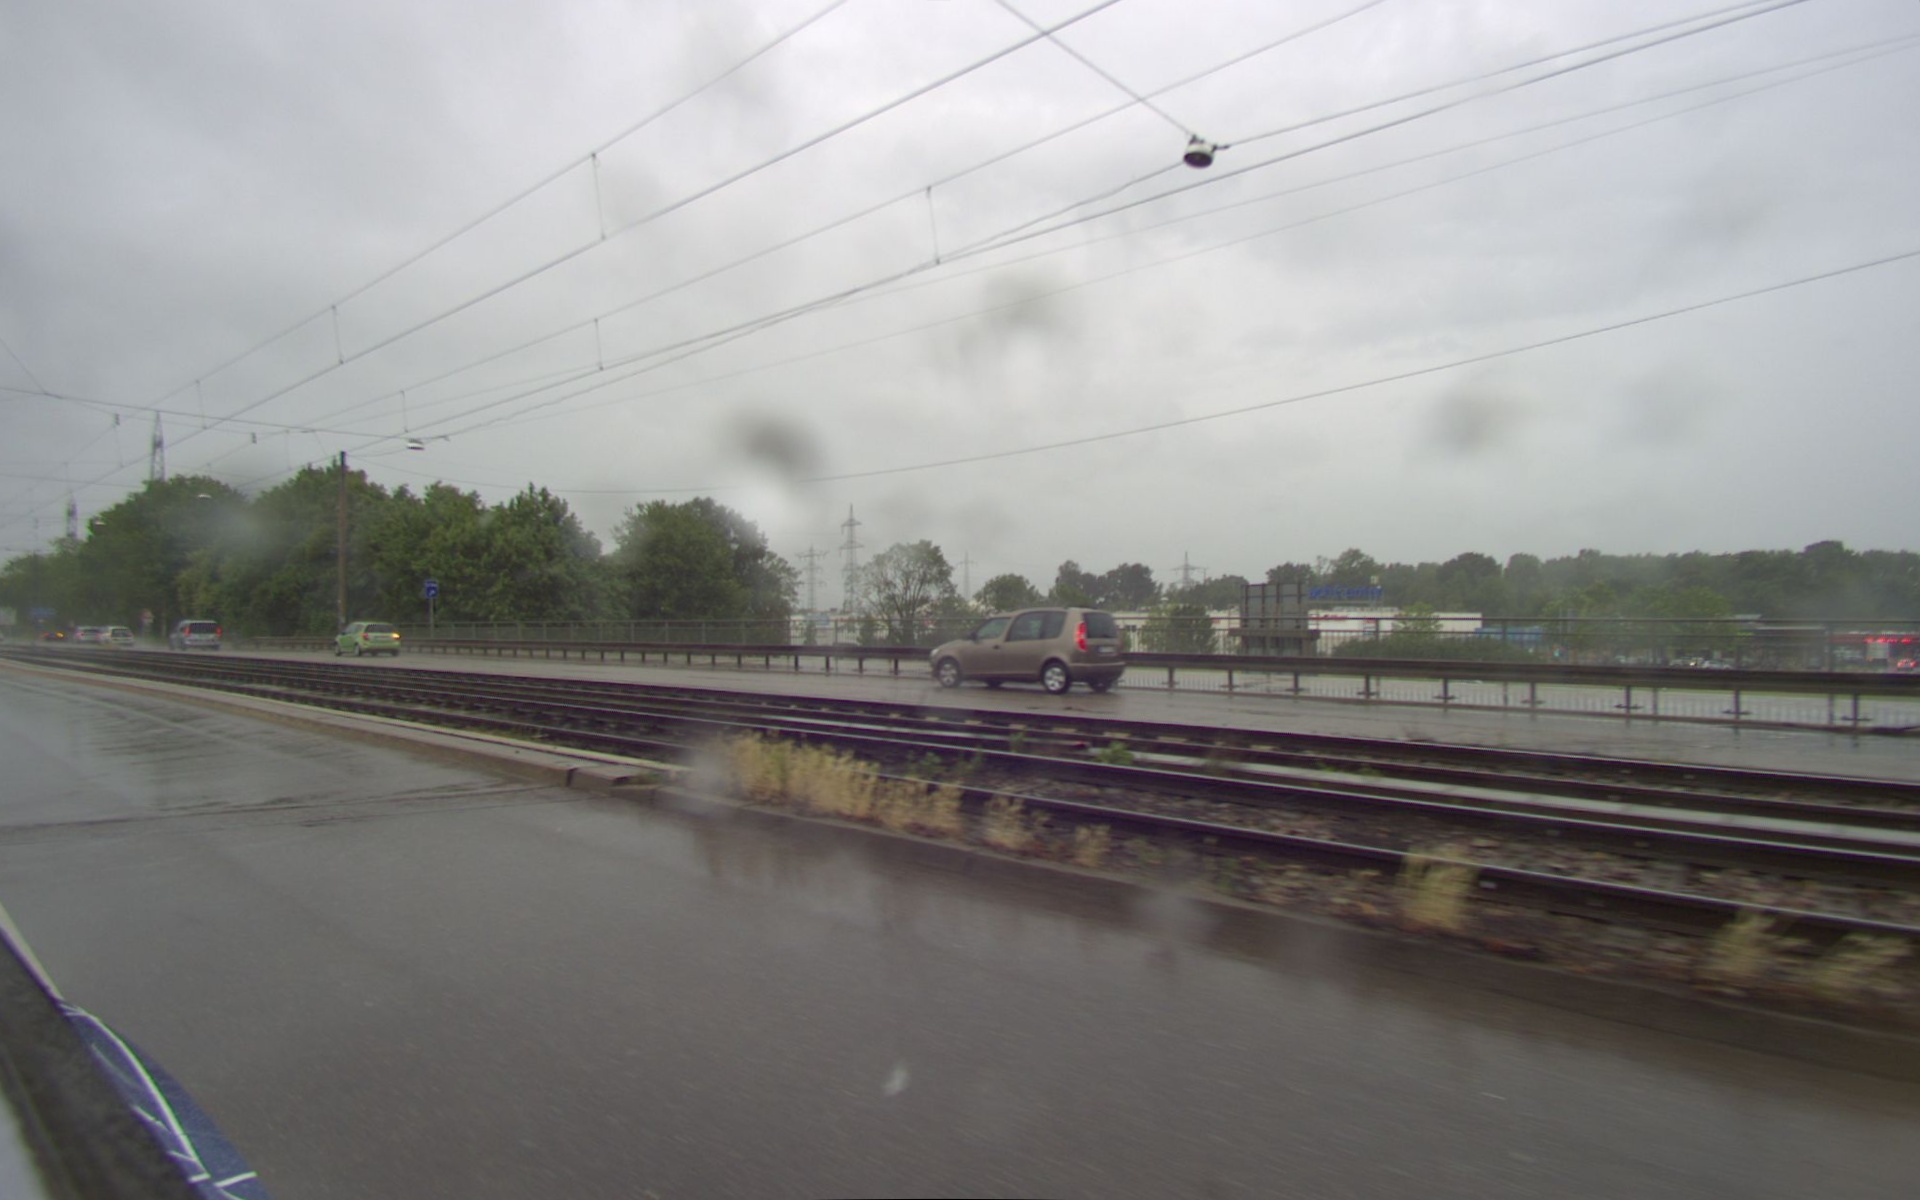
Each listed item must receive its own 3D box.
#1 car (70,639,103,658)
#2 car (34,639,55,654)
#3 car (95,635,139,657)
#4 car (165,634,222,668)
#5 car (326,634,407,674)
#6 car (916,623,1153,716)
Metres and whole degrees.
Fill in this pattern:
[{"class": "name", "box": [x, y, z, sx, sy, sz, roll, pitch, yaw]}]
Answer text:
[{"class": "car", "box": [-86.976, 4.801, 100.721, 4.659, 1.724, 1.814, -2, 1, 41]}, {"class": "car", "box": [-111.772, 5.649, 123.553, 1.753, 1.642, 3.673, -3, 1, -45]}, {"class": "car", "box": [-64.868, 3.544, 77.854, 3.998, 1.630, 1.973, -2, -3, 41]}, {"class": "car", "box": [-45.971, 2.999, 60.635, 4.392, 1.845, 1.829, -2, 1, 41]}, {"class": "car", "box": [-25.363, 2.279, 43.186, 3.998, 1.606, 1.827, -2, -2, 41]}, {"class": "car", "box": [1.349, 1.270, 19.656, 4.383, 1.586, 1.821, -2, -2, 41]}]
